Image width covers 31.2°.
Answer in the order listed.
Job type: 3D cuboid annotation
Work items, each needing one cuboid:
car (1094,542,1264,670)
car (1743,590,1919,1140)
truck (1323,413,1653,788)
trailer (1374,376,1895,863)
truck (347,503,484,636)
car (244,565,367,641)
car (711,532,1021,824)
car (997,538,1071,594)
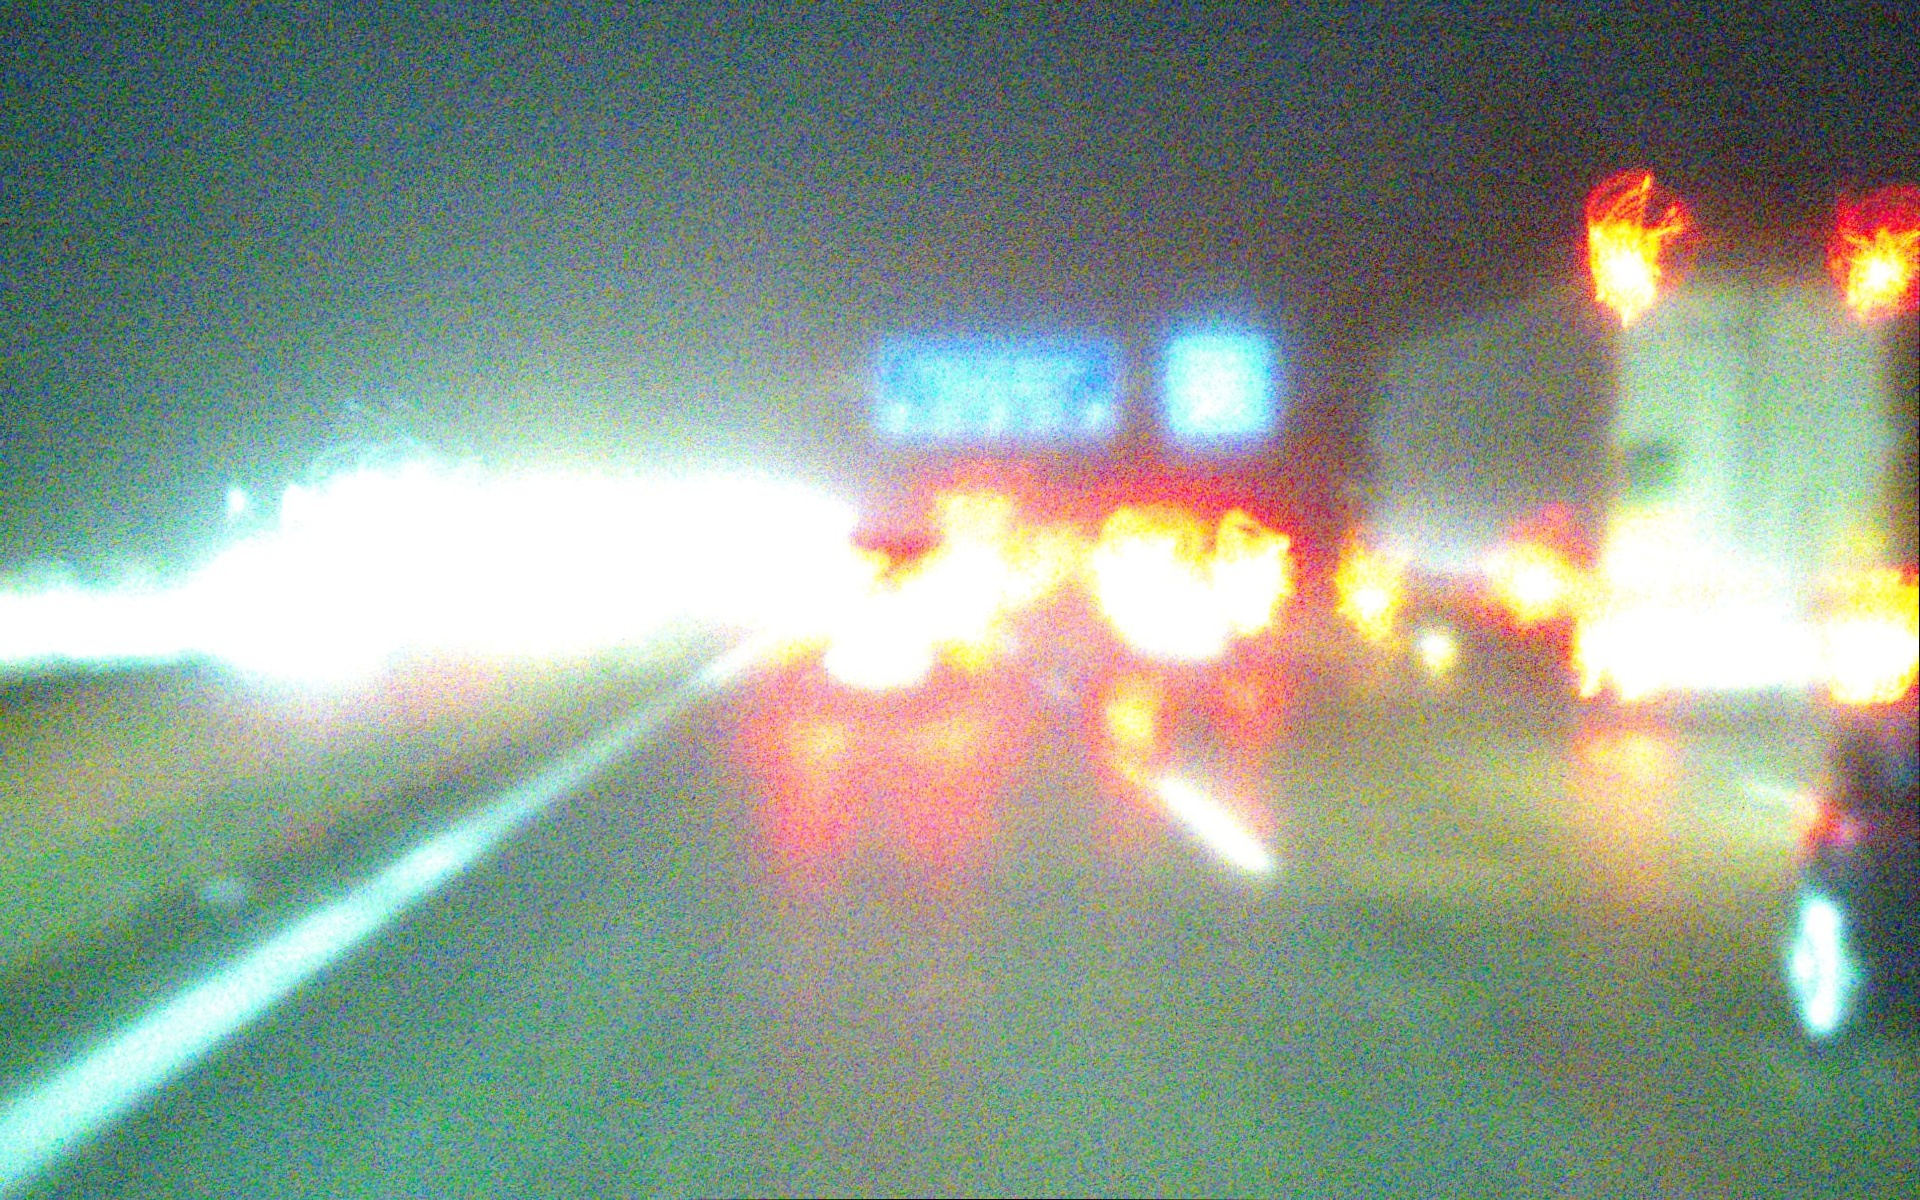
[{"bbox_3d":[2.818,0.039,45.012,1.884,1.583,4.000,1,1,-1],"label":"car"},{"bbox_3d":[3.305,0.705,8.787,1.612,1.407,3.792,1,1,-2],"label":"car"},{"bbox_3d":[6.424,-0.044,42.982,2.803,4.252,7.448,1,1,-1],"label":"truck"},{"bbox_3d":[6.574,0.080,35.846,2.803,4.198,12.097,1,1,-1],"label":"trailer"},{"bbox_3d":[-18.891,-1.065,119.918,2.930,4.312,11.436,-2,1,-1],"label":"truck"},{"bbox_3d":[-14.272,0.035,75.211,1.861,1.575,4.514,1,0,-1],"label":"car"},{"bbox_3d":[-0.962,0.644,33.889,2.709,2.525,5.831,-2,1,-2],"label":"car"},{"bbox_3d":[2.236,-1.034,104.777,2.137,1.612,4.000,1,0,0],"label":"car"}]
